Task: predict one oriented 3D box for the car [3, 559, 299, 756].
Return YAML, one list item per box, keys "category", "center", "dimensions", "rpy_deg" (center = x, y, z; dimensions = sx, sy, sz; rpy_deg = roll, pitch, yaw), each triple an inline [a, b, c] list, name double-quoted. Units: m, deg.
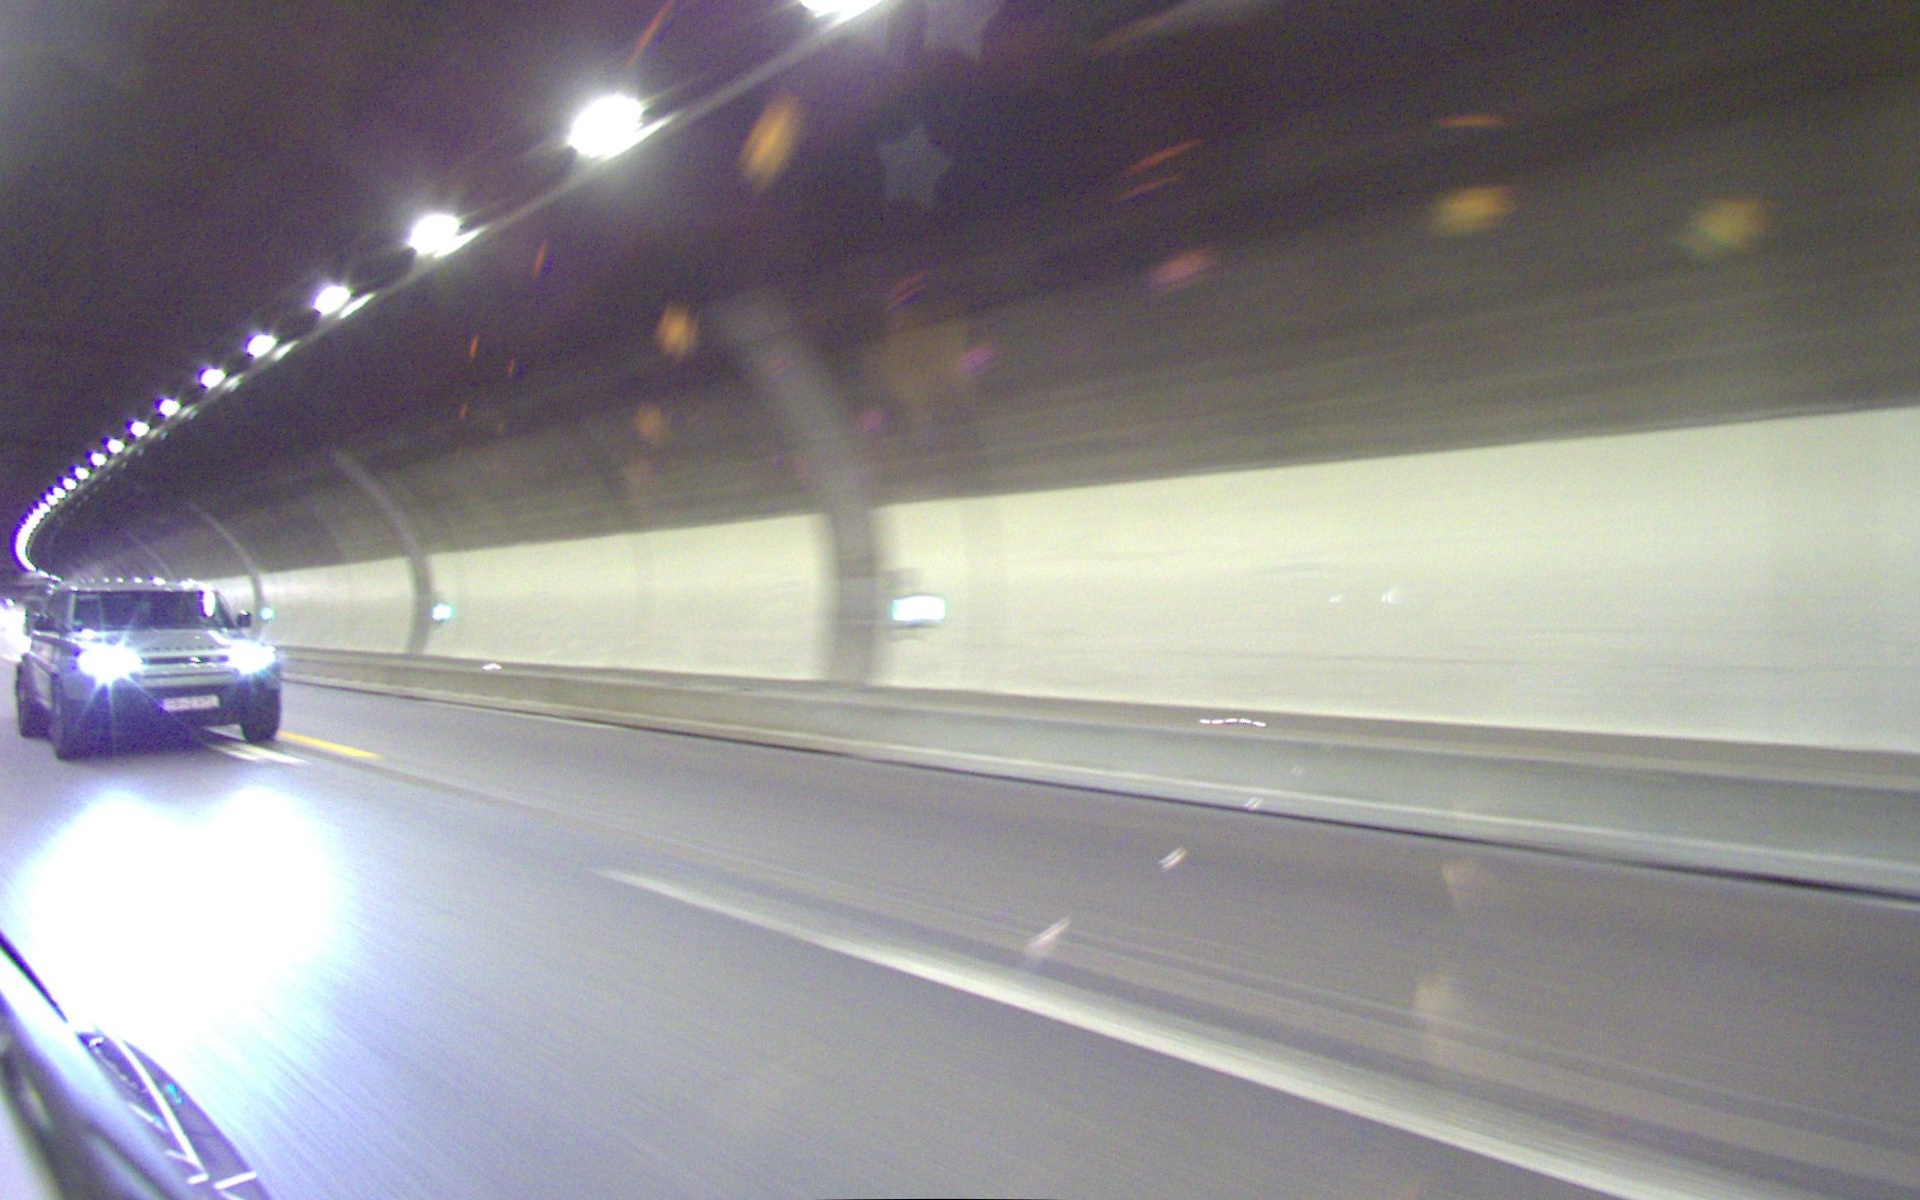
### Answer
- category: "car"
  center: [-10.059, 0.593, 12.391]
  dimensions: [5.452, 1.909, 1.972]
  rpy_deg: [-1, -1, 42]
